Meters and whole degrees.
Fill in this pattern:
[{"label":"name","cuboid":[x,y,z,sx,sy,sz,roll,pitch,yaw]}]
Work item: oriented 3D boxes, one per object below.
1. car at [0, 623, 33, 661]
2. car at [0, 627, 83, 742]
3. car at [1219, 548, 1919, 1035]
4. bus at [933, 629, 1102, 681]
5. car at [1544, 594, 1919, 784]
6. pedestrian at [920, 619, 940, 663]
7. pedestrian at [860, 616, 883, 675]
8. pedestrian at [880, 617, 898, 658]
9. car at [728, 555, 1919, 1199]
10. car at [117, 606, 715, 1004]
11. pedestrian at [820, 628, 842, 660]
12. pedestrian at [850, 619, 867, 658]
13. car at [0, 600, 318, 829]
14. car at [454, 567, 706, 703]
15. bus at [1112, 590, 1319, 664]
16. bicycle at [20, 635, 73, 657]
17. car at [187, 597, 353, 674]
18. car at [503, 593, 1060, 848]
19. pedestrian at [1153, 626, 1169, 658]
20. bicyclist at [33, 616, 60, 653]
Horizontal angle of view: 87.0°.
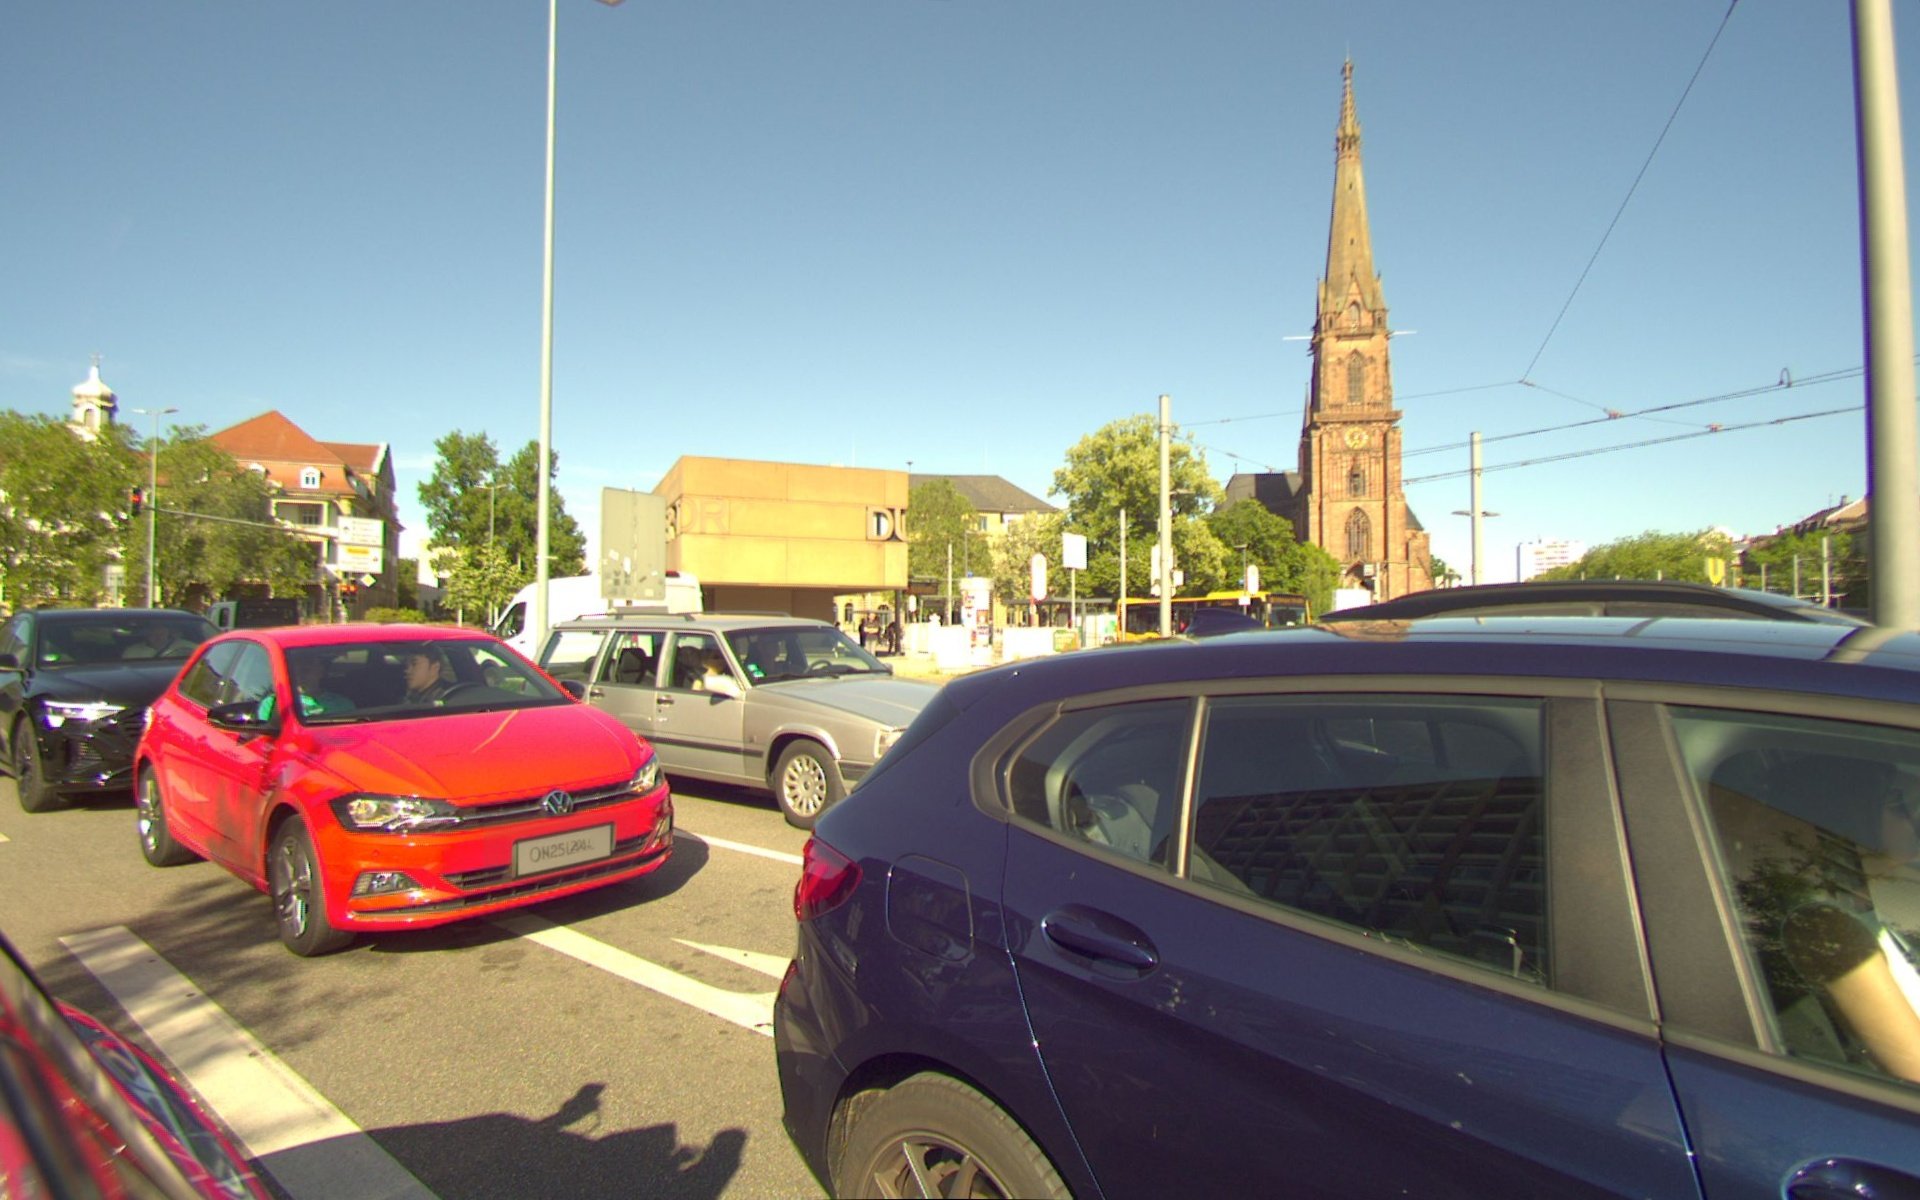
[{"label":"car","cuboid":[-43.941,1.871,45.419,3.328,1.692,1.528,2,-3,-41]},{"label":"car","cuboid":[-13.637,1.116,13.872,3.704,1.429,1.557,-1,0,35]},{"label":"car","cuboid":[3.299,0.617,4.116,4.010,1.529,1.738,-2,-2,44]},{"label":"bus","cuboid":[1.440,1.379,26.204,4.174,1.251,1.627,-1,-2,35]},{"label":"car","cuboid":[8.217,0.824,10.135,4.057,1.672,1.851,-1,-2,31]},{"label":"pedestrian","cuboid":[-1.207,1.649,40.946,0.634,1.789,0.470,1,-2,-29]},{"label":"pedestrian","cuboid":[-2.788,1.423,31.836,0.658,1.802,0.646,-1,-1,0]},{"label":"pedestrian","cuboid":[-3.161,1.655,45.065,0.468,1.789,0.638,-2,-2,36]},{"label":"car","cuboid":[1.587,0.681,1.376,4.030,1.456,1.692,-1,-1,42]},{"label":"car","cuboid":[-3.234,0.813,5.684,3.850,1.484,1.653,-2,-1,40]},{"label":"pedestrian","cuboid":[-5.512,1.866,43.197,0.635,1.320,0.764,1,-2,-40]},{"label":"pedestrian","cuboid":[-4.646,1.750,46.487,0.468,1.789,0.638,-2,-2,36]},{"label":"car","cuboid":[-7.840,0.883,9.332,4.446,1.628,1.836,-1,-2,38]},{"label":"car","cuboid":[-7.944,0.725,20.981,5.399,2.527,1.979,-1,-2,31]},{"label":"bus","cuboid":[11.630,1.322,48.110,2.715,3.088,12.201,1,-2,-23]},{"label":"bicycle","cuboid":[-39.206,1.967,43.454,0.590,0.896,1.632,-1,-1,42]},{"label":"car","cuboid":[-22.648,1.159,33.132,6.191,2.331,2.095,-1,-2,31]},{"label":"car","cuboid":[-1.671,0.810,8.212,4.746,1.484,1.692,-3,0,38]},{"label":"pedestrian","cuboid":[9.672,2.002,48.684,0.519,1.525,0.572,-1,-1,-29]},{"label":"bicyclist","cuboid":[-39.222,1.481,43.466,0.695,1.570,0.805,-1,-1,42]}]
